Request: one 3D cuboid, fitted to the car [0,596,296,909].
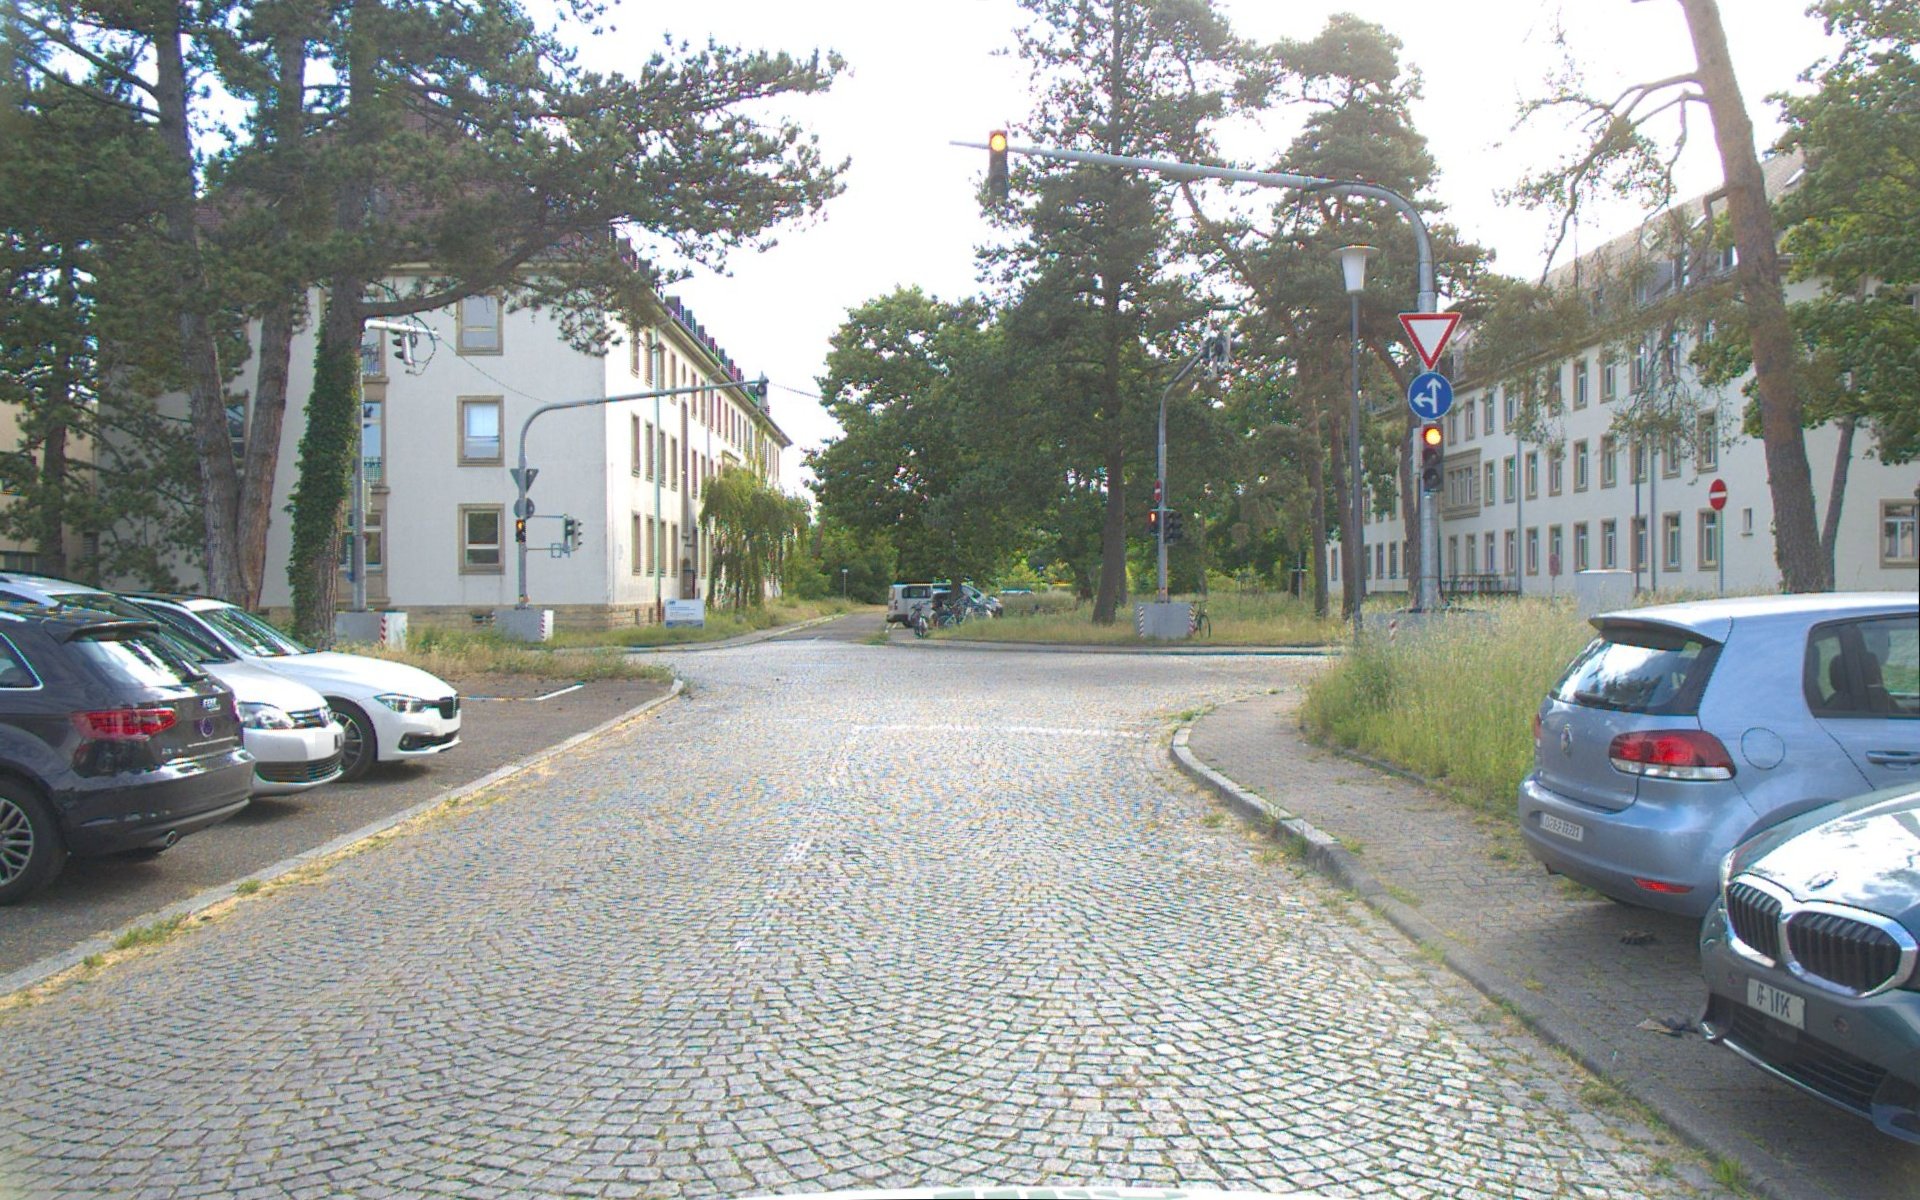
[{"bbox_3d":[-5.750,0.692,8.730,3.759,1.433,1.695,2,0,-2],"label":"car"}]

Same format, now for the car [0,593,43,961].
[{"bbox_3d":[-5.623,0.662,6.079,3.506,1.501,1.646,2,0,-4],"label":"car"}]

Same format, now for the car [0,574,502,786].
[{"bbox_3d":[-6.338,0.632,14.013,4.390,1.467,1.828,3,0,-5],"label":"car"}]

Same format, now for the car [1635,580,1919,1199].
[{"bbox_3d":[4.436,0.682,4.576,4.423,1.509,1.806,-1,0,-4],"label":"car"}]

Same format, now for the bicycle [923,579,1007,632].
[{"bbox_3d":[0.163,0.179,56.147,2.722,1.723,1.118,-1,0,-7],"label":"bicycle"}]

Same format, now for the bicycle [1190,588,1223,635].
[{"bbox_3d":[6.610,0.301,44.495,0.708,1.189,2.738,1,0,5],"label":"bicycle"}]

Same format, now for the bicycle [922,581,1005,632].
[{"bbox_3d":[0.115,0.201,57.340,2.724,1.723,1.118,-1,0,-9],"label":"bicycle"}]

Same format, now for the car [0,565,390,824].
[{"bbox_3d":[-6.197,0.589,11.620,3.756,1.635,1.734,2,0,-4],"label":"car"}]

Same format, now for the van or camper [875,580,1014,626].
[{"bbox_3d":[-0.709,0.111,74.099,5.932,1.983,1.992,-1,0,-15],"label":"van or camper"}]

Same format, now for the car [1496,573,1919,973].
[{"bbox_3d":[4.487,0.627,7.186,3.765,1.496,1.641,-1,0,-2],"label":"car"}]

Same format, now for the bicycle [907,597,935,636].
[{"bbox_3d":[-1.218,0.509,51.836,0.711,1.127,2.462,-5,0,0],"label":"bicycle"}]

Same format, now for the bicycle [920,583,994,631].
[{"bbox_3d":[-0.115,0.262,62.239,2.719,1.723,1.120,2,0,0],"label":"bicycle"}]

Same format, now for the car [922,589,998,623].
[{"bbox_3d":[-0.023,0.245,70.537,3.078,1.378,1.617,0,0,-7],"label":"car"}]
